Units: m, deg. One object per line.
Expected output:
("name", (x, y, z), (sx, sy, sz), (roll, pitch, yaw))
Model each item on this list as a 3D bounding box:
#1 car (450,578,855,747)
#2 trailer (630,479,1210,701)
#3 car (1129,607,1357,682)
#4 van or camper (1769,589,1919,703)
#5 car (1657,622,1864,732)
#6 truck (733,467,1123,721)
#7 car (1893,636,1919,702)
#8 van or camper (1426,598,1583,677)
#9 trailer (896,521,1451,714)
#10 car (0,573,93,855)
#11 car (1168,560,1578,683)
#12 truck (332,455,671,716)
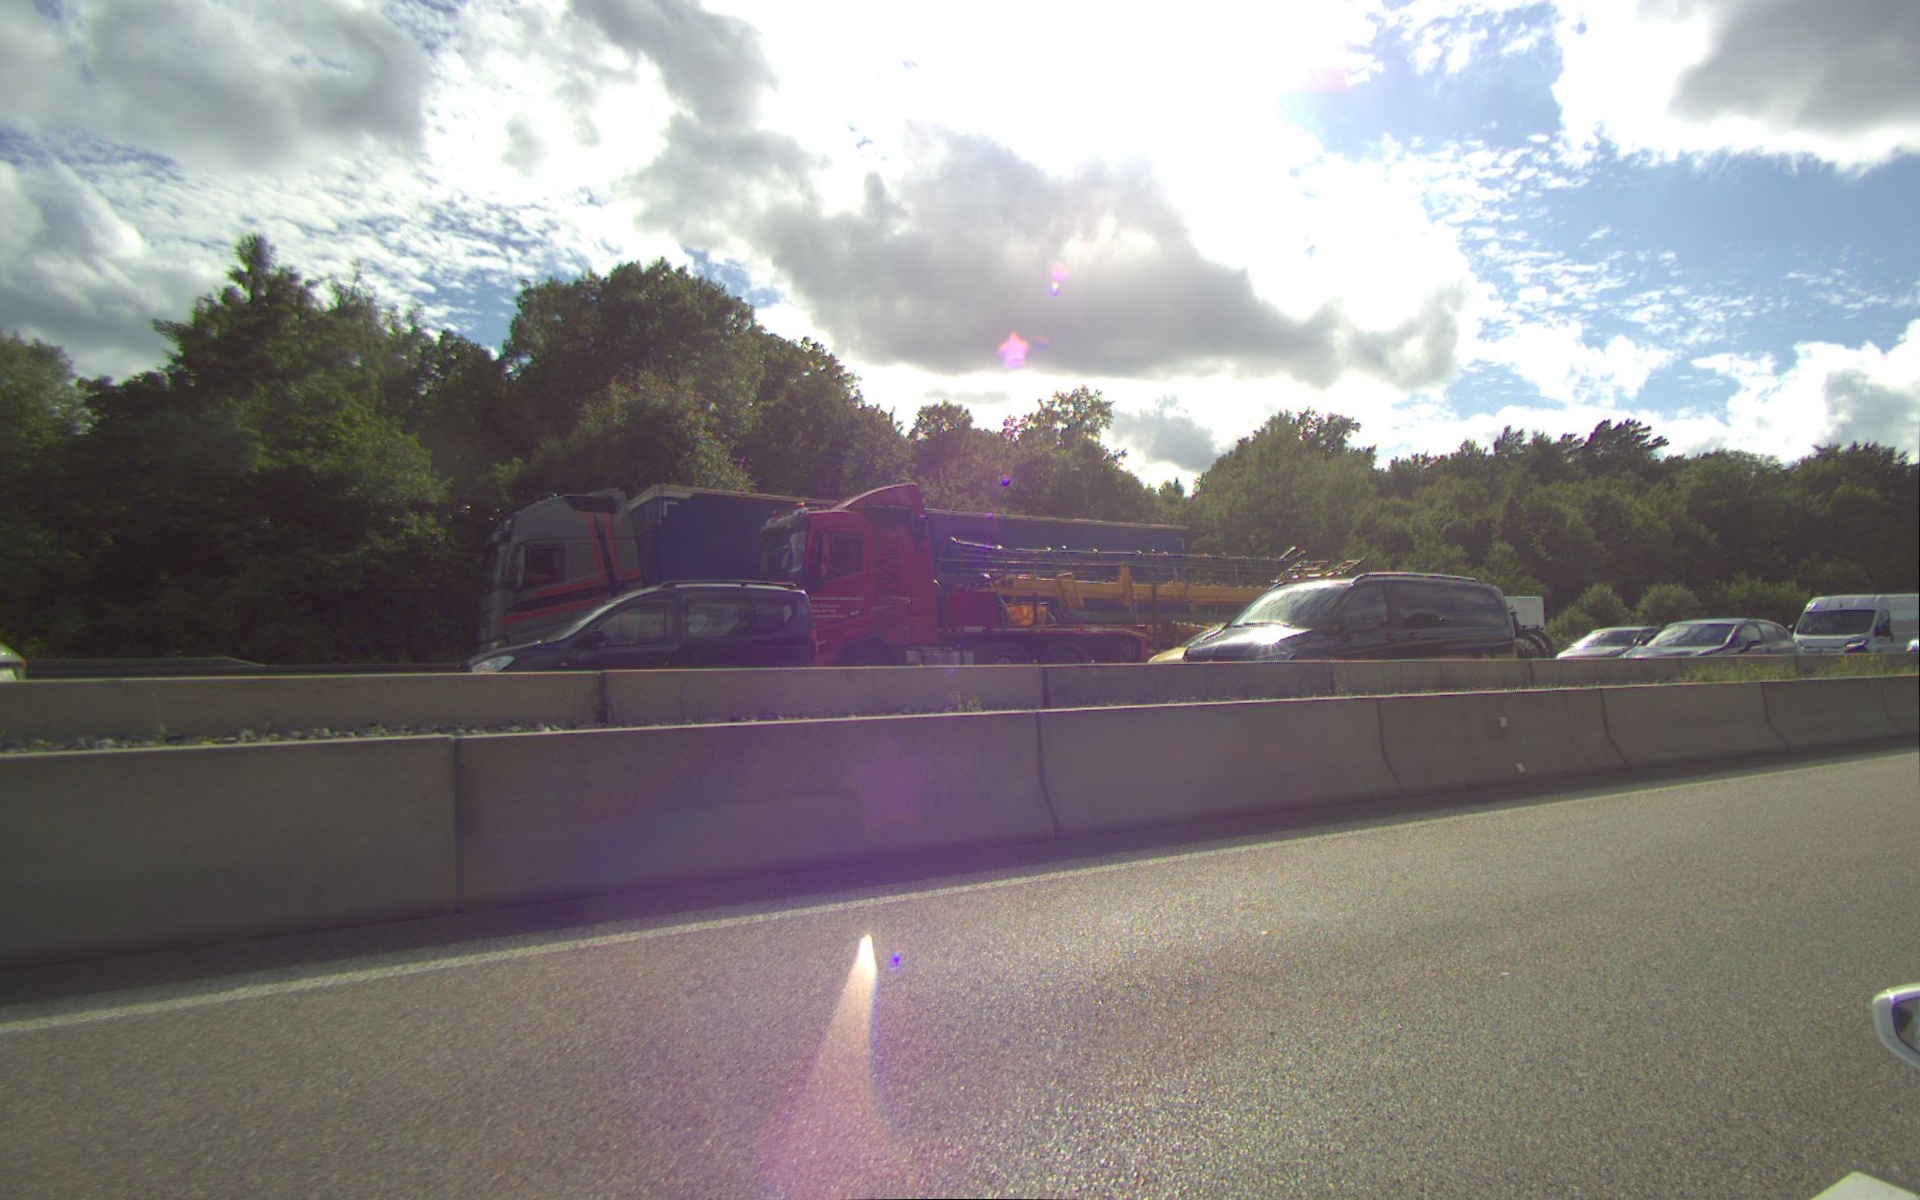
("car", (-3.757, 0.691, 12.570), (4.561, 1.790, 1.736), (1, 0, -31))
("trailer", (-0.299, -0.077, 23.612), (13.875, 4.175, 2.796), (1, 1, -30))
("car", (5.000, 0.754, 17.611), (3.954, 1.142, 1.577), (1, 0, -31))
("van or camper", (27.562, 1.350, 30.897), (6.173, 3.215, 2.127), (1, 1, -31))
("car", (15.206, 1.428, 19.035), (4.247, 1.840, 1.678), (3, -1, -31))
("truck", (-0.484, -0.038, 18.783), (6.775, 3.991, 2.761), (1, 0, -31))
("car", (25.944, 1.782, 25.772), (4.240, 1.612, 1.826), (1, 0, -31))
("van or camper", (22.955, 1.559, 42.216), (7.114, 3.118, 2.559), (2, -1, -31))
("trailer", (5.445, 0.403, 22.395), (14.057, 3.380, 2.714), (1, 0, -31))
("car", (-7.599, 0.604, 5.558), (3.954, 1.625, 1.714), (1, 0, -31))
("car", (5.743, 0.291, 13.558), (6.162, 1.367, 1.805), (2, 0, -31))
("truck", (-8.489, -0.177, 18.792), (5.391, 4.204, 2.797), (1, -1, -31))
